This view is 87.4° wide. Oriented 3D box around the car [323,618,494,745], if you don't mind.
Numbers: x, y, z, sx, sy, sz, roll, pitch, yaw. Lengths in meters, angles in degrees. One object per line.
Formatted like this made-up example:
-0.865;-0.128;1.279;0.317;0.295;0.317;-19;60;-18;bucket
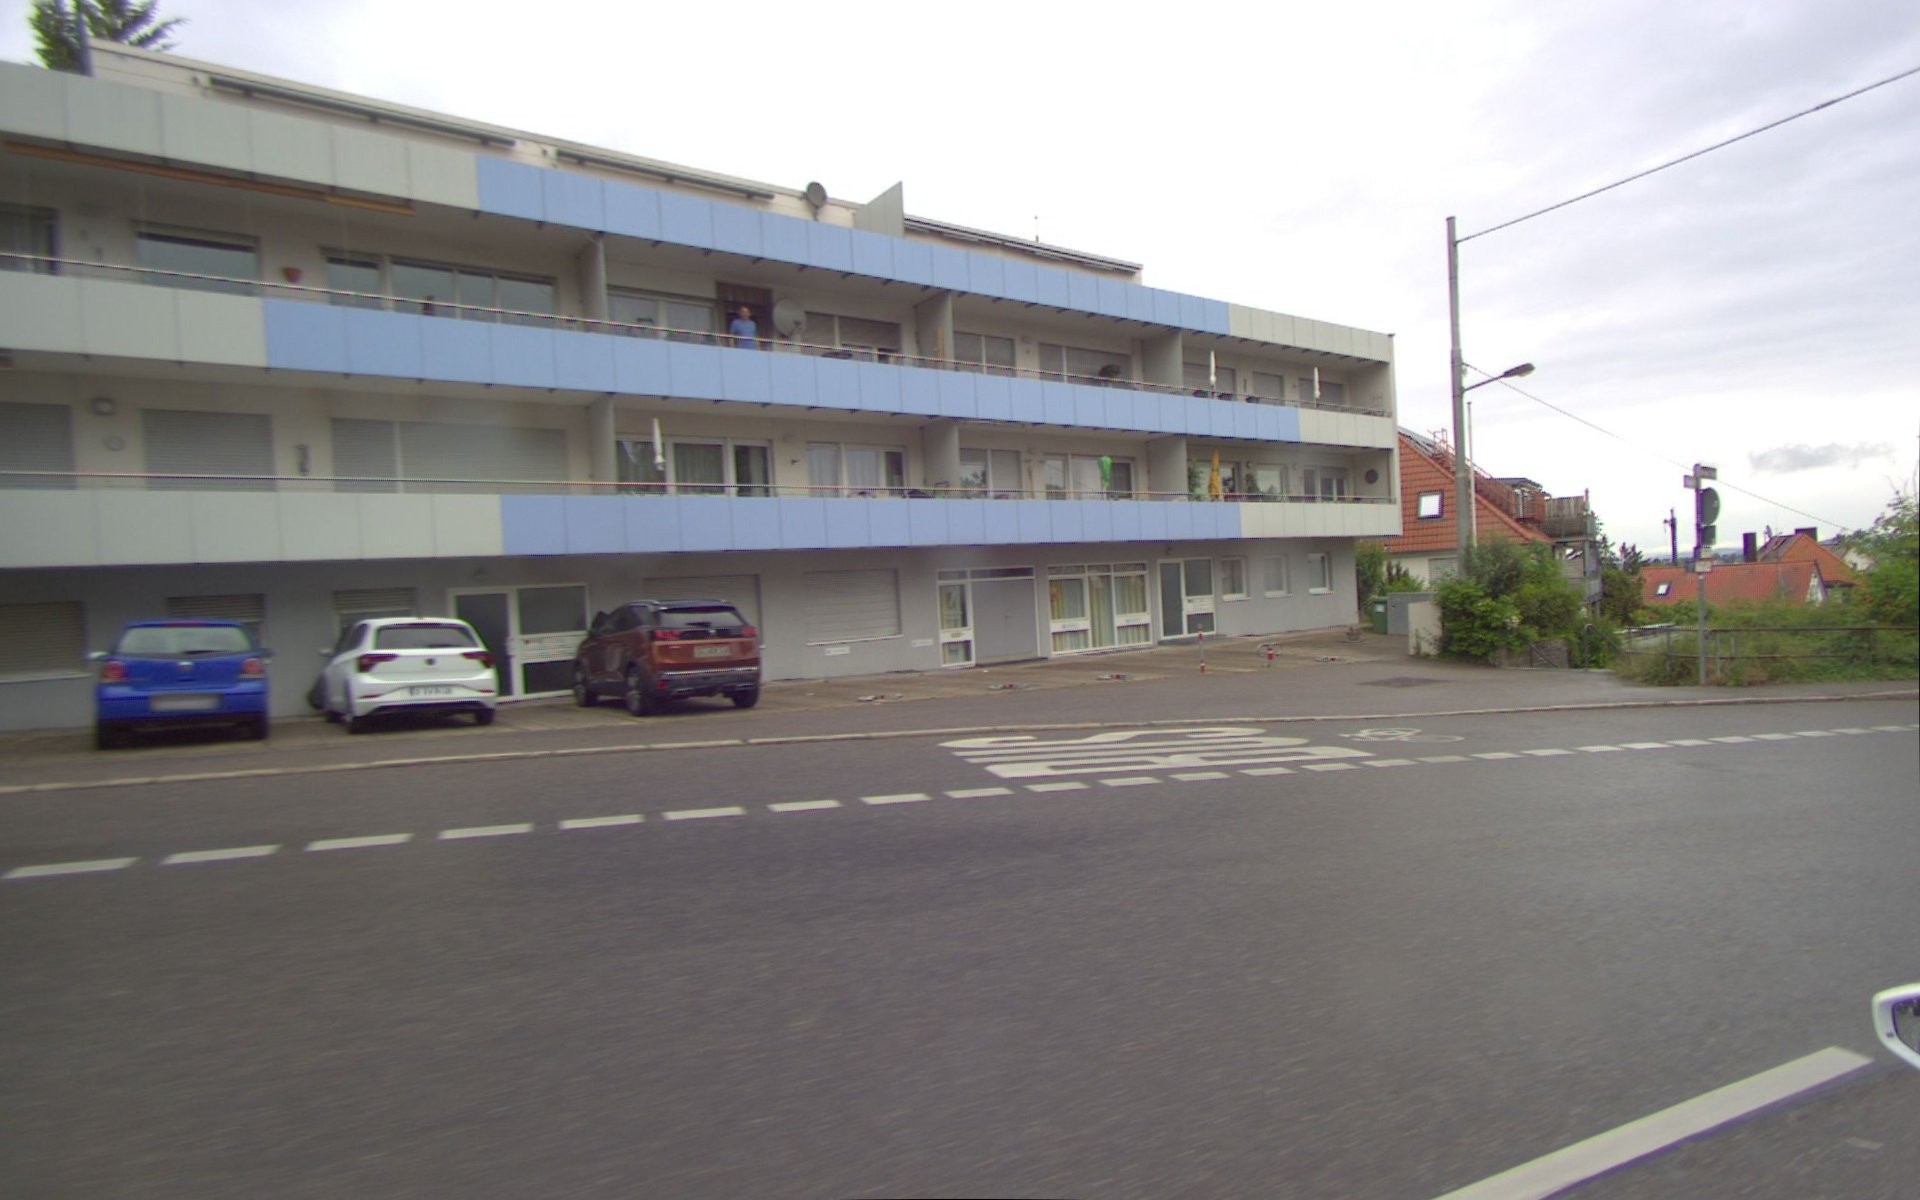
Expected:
-7.636;1.061;13.761;1.691;1.464;3.409;-1;-2;-35;car

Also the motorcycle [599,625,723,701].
-5.587;1.151;18.925;0.565;1.327;2.326;0;-1;38;motorcycle

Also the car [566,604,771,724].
-4.530;0.911;15.259;1.700;1.570;3.894;0;-2;-37;car

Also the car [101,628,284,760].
-9.641;1.070;12.590;1.624;1.408;3.403;1;-2;-39;car
